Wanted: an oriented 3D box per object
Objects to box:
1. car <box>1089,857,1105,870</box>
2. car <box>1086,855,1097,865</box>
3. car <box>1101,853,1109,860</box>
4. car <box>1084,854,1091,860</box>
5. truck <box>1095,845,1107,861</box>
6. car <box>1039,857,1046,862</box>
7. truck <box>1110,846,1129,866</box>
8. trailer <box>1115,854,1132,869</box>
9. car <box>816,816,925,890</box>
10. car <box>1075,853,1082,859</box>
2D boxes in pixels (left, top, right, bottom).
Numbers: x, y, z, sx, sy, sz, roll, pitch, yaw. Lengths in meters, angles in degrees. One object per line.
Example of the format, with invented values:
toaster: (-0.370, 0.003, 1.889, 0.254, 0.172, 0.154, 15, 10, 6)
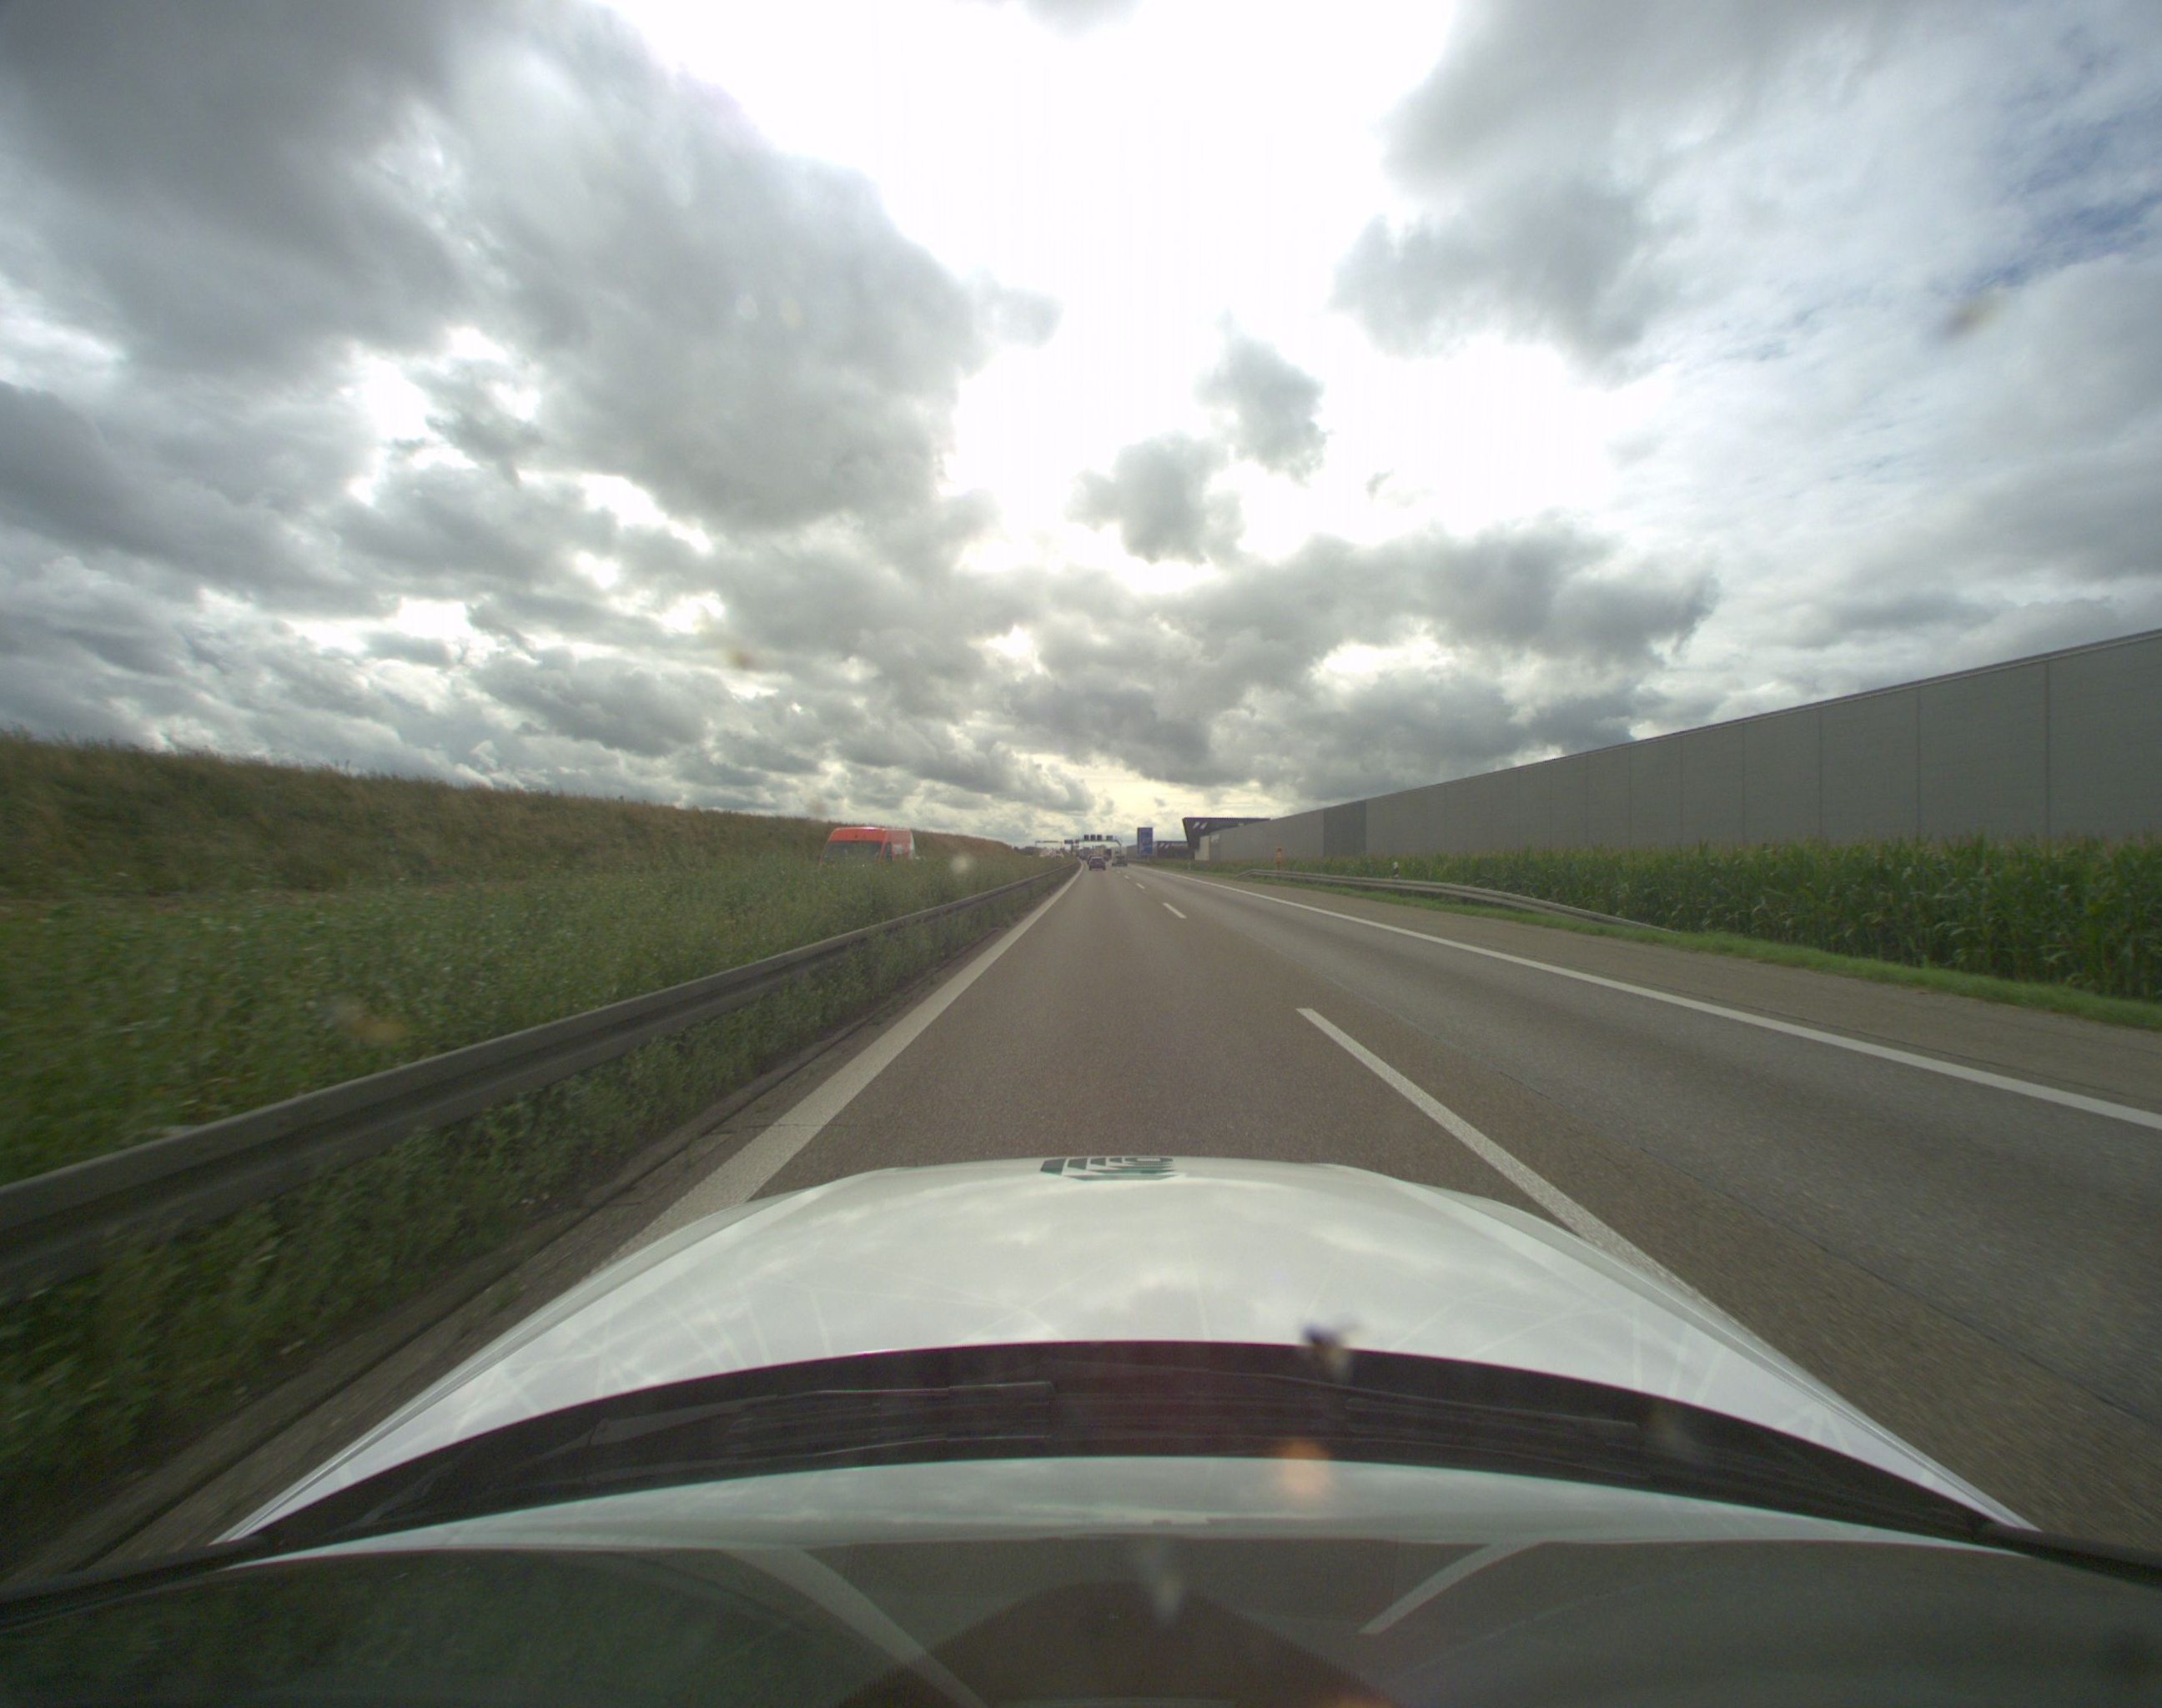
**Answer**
car: (1.736, 1.016, 88.327, 1.740, 1.453, 4.001, 0, 0, 1)
car: (1.863, 1.024, 145.064, 1.939, 1.685, 4.000, 0, 0, 1)
car: (5.544, 0.547, 191.380, 1.795, 1.685, 4.000, 0, 0, 0)
car: (1.716, 0.808, 225.907, 1.936, 1.775, 3.696, 0, 0, 1)
truck: (5.850, -0.273, 237.727, 3.330, 4.534, 8.012, 0, -1, -1)
car: (-10.342, 1.457, 219.695, 1.718, 1.403, 4.342, 0, 0, 1)
truck: (5.895, 0.343, 124.801, 2.475, 2.950, 5.811, 0, -1, -1)
trailer: (6.130, 1.056, 118.064, 2.330, 2.136, 4.000, 0, -1, 1)
car: (-6.952, -0.009, 27.597, 2.116, 2.267, 5.455, 0, 0, 2)
car: (-0.763, 0.684, 258.342, 1.986, 2.014, 4.001, 0, -1, 1)
